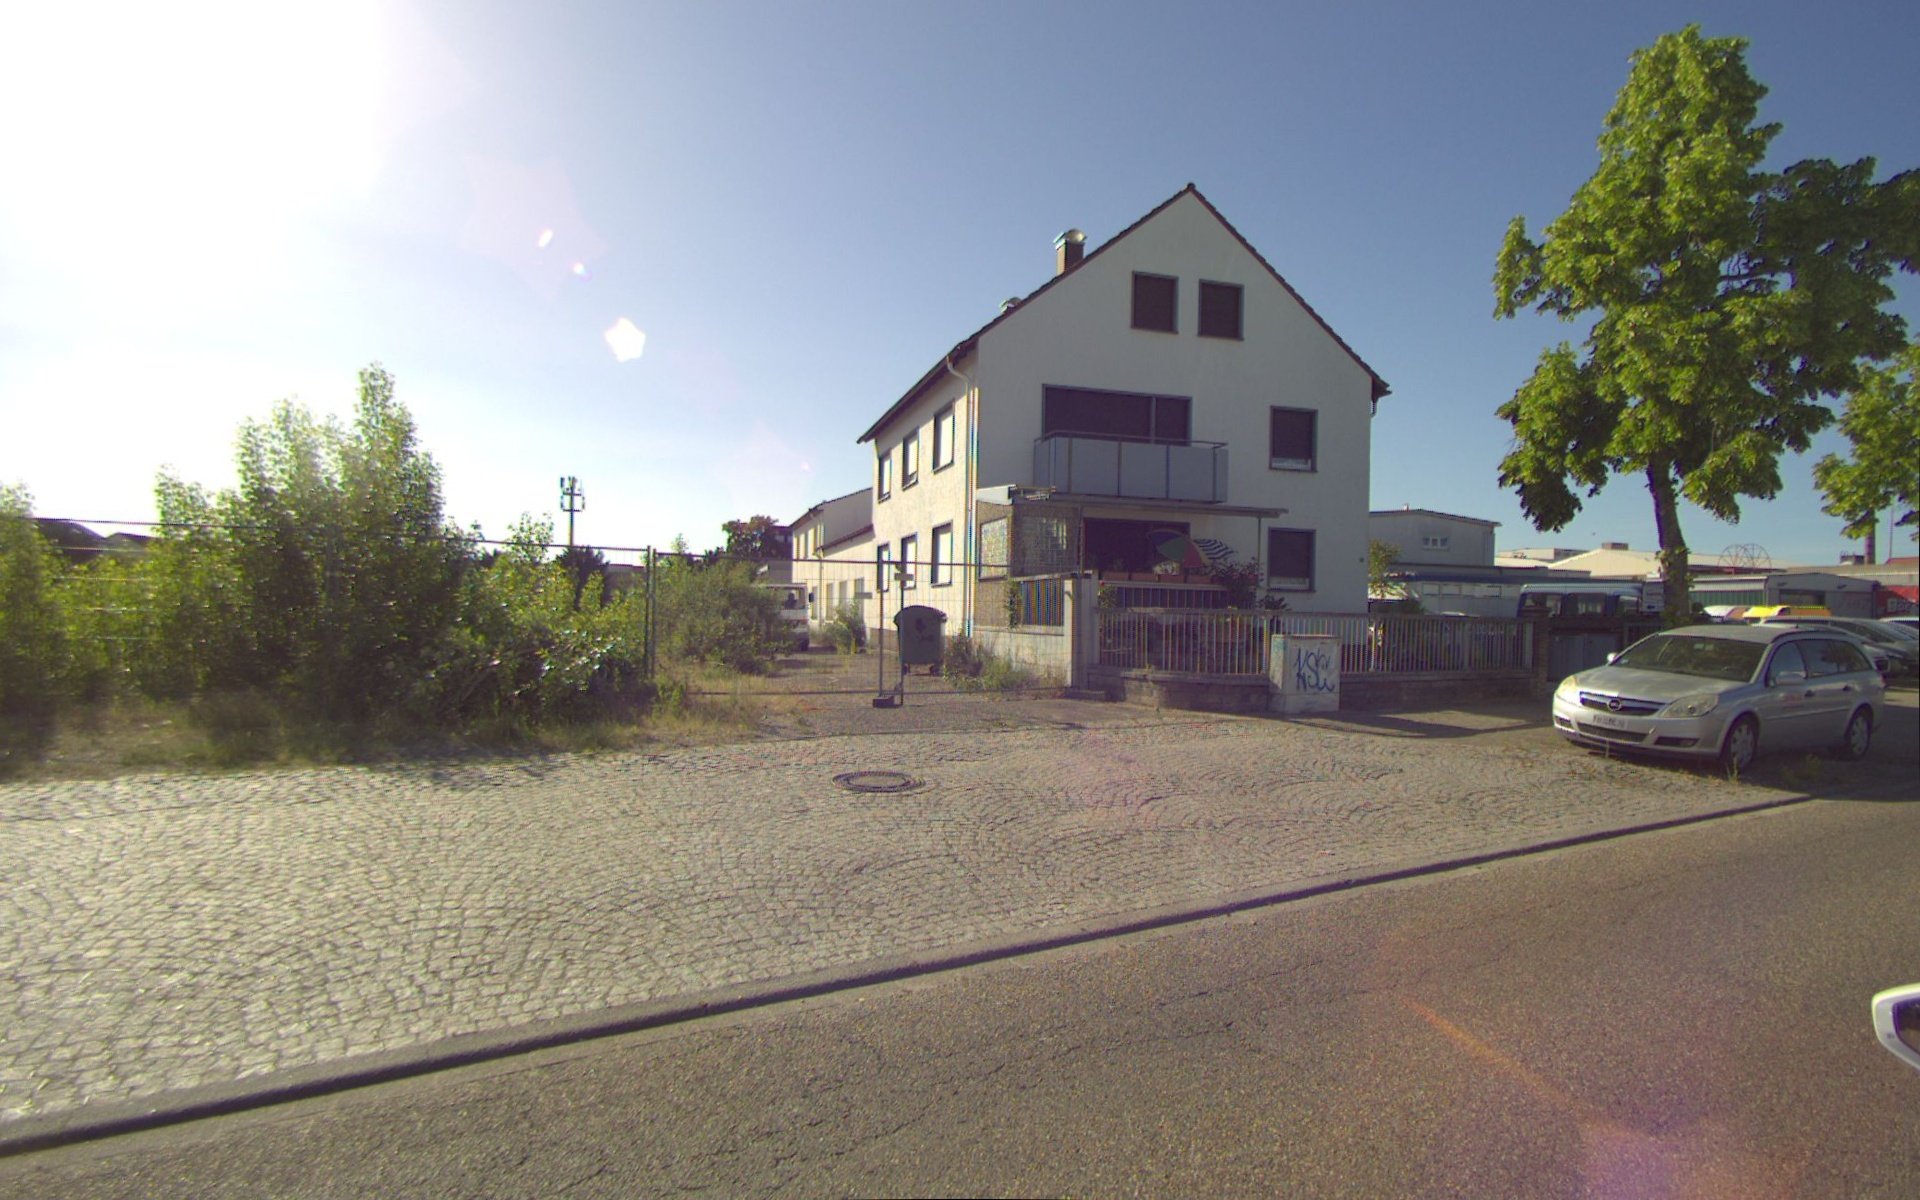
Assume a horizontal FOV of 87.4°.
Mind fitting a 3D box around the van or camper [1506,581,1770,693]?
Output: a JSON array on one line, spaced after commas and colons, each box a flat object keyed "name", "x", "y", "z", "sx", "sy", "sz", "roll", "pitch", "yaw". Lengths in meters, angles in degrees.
[{"name": "van or camper", "x": 15.893, "y": 0.803, "z": 23.930, "sx": 2.208, "sy": 2.351, "sz": 4.890, "roll": 2, "pitch": 0, "yaw": -17}]

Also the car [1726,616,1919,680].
[{"name": "car", "x": 24.967, "y": 1.322, "z": 28.954, "sx": 1.745, "sy": 1.607, "sz": 4.227, "roll": 1, "pitch": 0, "yaw": -31}]

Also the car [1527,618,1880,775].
[{"name": "car", "x": 8.696, "y": 1.013, "z": 11.685, "sx": 4.157, "sy": 1.454, "sz": 1.679, "roll": 1, "pitch": 2, "yaw": -29}]

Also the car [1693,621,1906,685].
[{"name": "car", "x": 23.149, "y": 1.404, "z": 27.889, "sx": 1.742, "sy": 1.562, "sz": 4.236, "roll": 0, "pitch": -1, "yaw": -25}]

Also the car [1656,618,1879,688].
[{"name": "car", "x": 20.985, "y": 1.329, "z": 26.324, "sx": 1.741, "sy": 1.562, "sz": 4.237, "roll": 1, "pitch": 0, "yaw": -24}]

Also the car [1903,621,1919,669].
[{"name": "car", "x": 36.810, "y": 1.665, "z": 35.890, "sx": 1.741, "sy": 1.751, "sz": 4.238, "roll": 1, "pitch": -1, "yaw": -24}]

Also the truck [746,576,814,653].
[{"name": "truck", "x": -6.768, "y": 0.518, "z": 37.168, "sx": 2.145, "sy": 2.551, "sz": 6.577, "roll": 1, "pitch": -1, "yaw": -13}]

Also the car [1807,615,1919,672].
[{"name": "car", "x": 30.578, "y": 1.399, "z": 32.730, "sx": 1.741, "sy": 1.751, "sz": 4.238, "roll": 1, "pitch": -1, "yaw": -24}]

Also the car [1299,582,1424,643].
[{"name": "car", "x": 13.038, "y": 0.407, "z": 32.876, "sx": 1.651, "sy": 1.860, "sz": 4.040, "roll": 1, "pitch": -1, "yaw": -17}]

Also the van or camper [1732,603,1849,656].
[{"name": "van or camper", "x": 45.690, "y": 1.613, "z": 55.258, "sx": 6.174, "sy": 2.751, "sz": 2.162, "roll": 1, "pitch": 0, "yaw": -20}]

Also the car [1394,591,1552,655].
[{"name": "car", "x": 14.354, "y": 0.638, "z": 28.366, "sx": 1.652, "sy": 1.600, "sz": 3.981, "roll": 3, "pitch": -2, "yaw": -17}]

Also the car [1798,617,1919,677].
[{"name": "car", "x": 28.901, "y": 1.430, "z": 31.075, "sx": 1.741, "sy": 1.751, "sz": 4.238, "roll": 1, "pitch": -1, "yaw": -24}]

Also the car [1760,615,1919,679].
[{"name": "car", "x": 26.792, "y": 1.361, "z": 29.996, "sx": 1.743, "sy": 1.776, "sz": 4.234, "roll": 2, "pitch": -1, "yaw": -26}]

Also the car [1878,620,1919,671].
[{"name": "car", "x": 34.883, "y": 1.624, "z": 34.809, "sx": 1.744, "sy": 1.751, "sz": 4.232, "roll": 2, "pitch": -1, "yaw": -28}]

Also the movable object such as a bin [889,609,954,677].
[{"name": "movable object such as a bin", "x": -0.808, "y": 0.895, "z": 21.111, "sx": 1.236, "sy": 1.409, "sz": 0.636, "roll": 1, "pitch": 0, "yaw": -16}]
